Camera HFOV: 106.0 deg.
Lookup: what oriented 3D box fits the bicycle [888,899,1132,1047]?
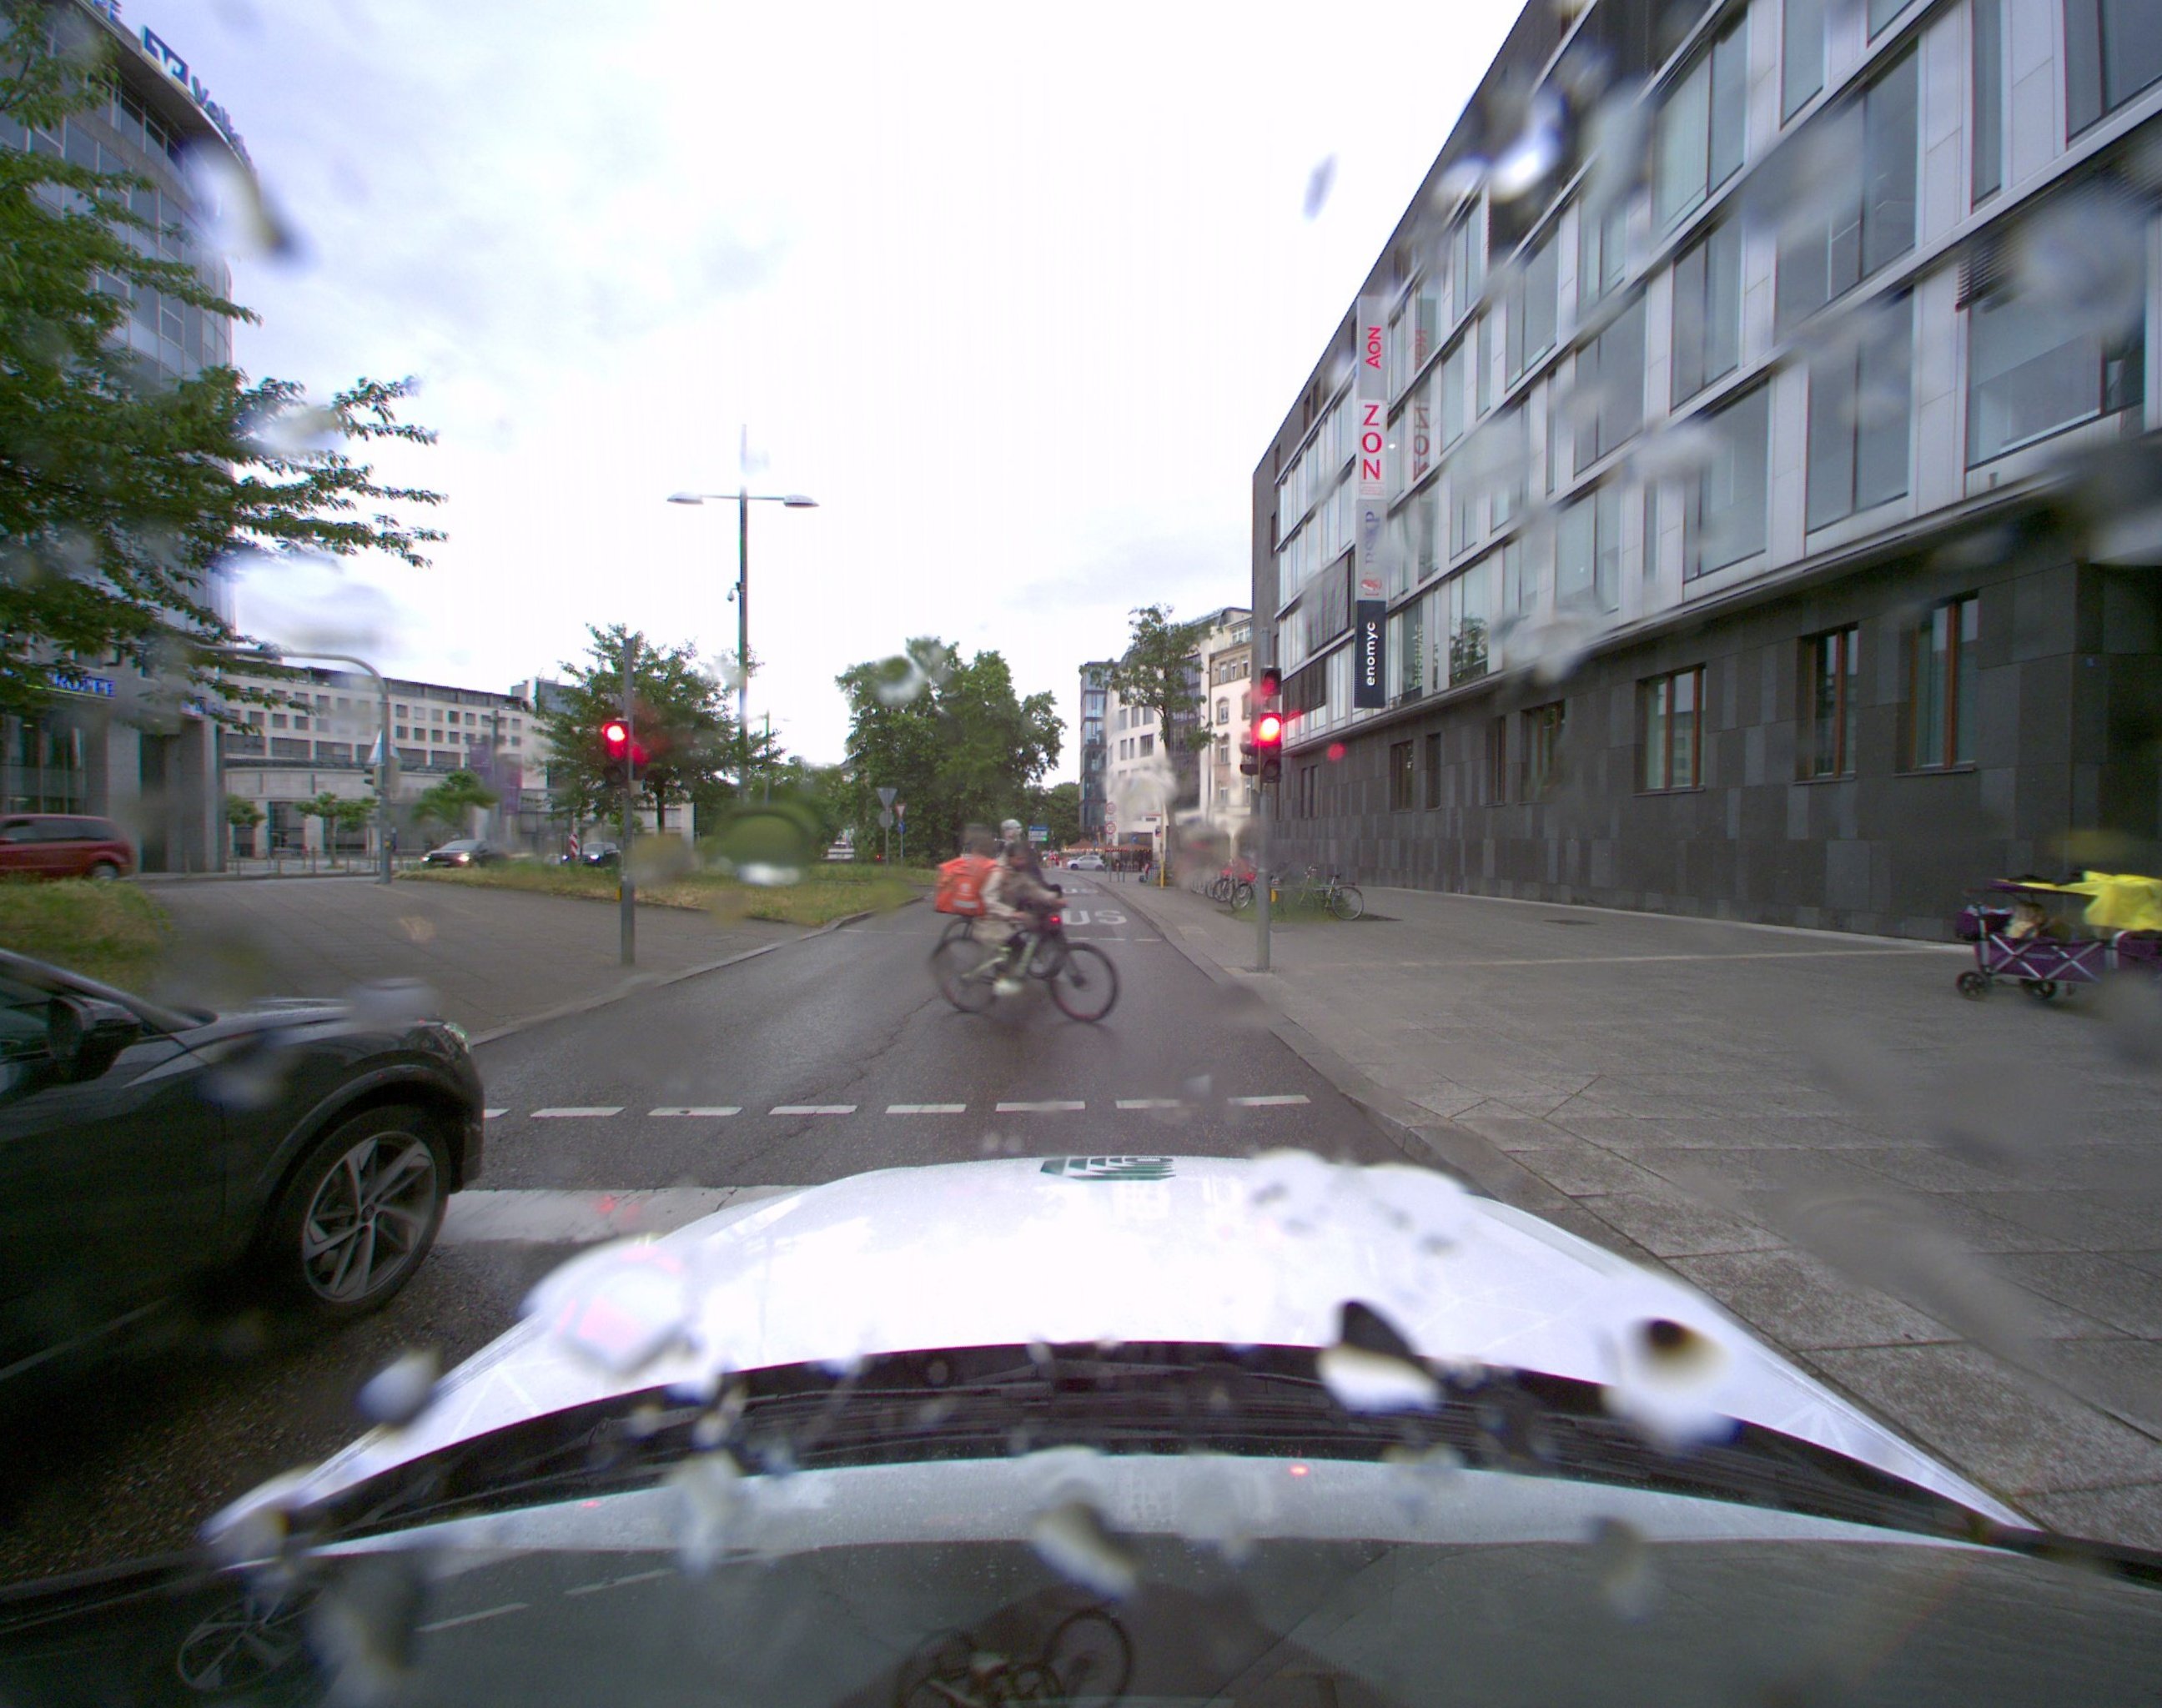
[{"bbox_3d":[-0.672,1.024,7.599,2.041,1.114,1.018,0,-1,30],"label":"bicycle"}]

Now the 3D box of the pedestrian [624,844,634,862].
[{"bbox_3d":[-51.841,-0.106,93.357,0.790,2.014,0.736,2,0,-15],"label":"pedestrian"}]

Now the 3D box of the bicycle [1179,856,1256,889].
[{"bbox_3d":[4.690,0.628,28.086,2.530,1.087,0.677,-1,0,-3],"label":"bicycle"}]

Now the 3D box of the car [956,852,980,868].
[{"bbox_3d":[-12.035,0.574,86.724,1.949,1.646,4.221,0,0,-17],"label":"car"}]

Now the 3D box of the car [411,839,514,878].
[{"bbox_3d":[-25.715,0.169,34.046,1.806,1.486,3.984,2,0,-12],"label":"car"}]

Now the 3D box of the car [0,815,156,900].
[{"bbox_3d":[-22.920,0.072,17.269,1.723,1.727,4.572,0,0,-7],"label":"car"}]

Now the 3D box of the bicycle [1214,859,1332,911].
[{"bbox_3d":[4.405,0.708,18.764,2.530,1.087,0.677,2,0,-3],"label":"bicycle"}]

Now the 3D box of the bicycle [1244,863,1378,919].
[{"bbox_3d":[4.636,0.735,16.476,2.530,1.057,0.677,0,0,-3],"label":"bicycle"}]

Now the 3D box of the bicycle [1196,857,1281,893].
[{"bbox_3d":[4.939,0.654,25.598,2.530,1.087,0.677,-1,0,-3],"label":"bicycle"}]

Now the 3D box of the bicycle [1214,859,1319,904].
[{"bbox_3d":[4.729,0.689,20.838,2.530,1.087,0.677,-1,0,-3],"label":"bicycle"}]

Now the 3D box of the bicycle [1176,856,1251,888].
[{"bbox_3d":[4.667,0.640,28.834,2.530,1.087,0.677,-1,0,-3],"label":"bicycle"}]

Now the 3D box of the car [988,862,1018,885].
[{"bbox_3d":[-6.349,1.529,65.509,2.161,1.706,4.540,0,0,-9],"label":"car"}]

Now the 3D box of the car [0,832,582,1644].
[{"bbox_3d":[-3.062,0.759,1.404,1.843,1.616,4.250,1,1,-2],"label":"car"}]

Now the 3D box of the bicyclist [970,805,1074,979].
[{"bbox_3d":[-0.732,0.458,10.271,1.073,2.083,0.766,-1,-1,16],"label":"bicyclist"}]

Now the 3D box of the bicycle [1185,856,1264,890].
[{"bbox_3d":[4.785,0.638,27.194,2.530,1.087,0.677,-1,0,-3],"label":"bicycle"}]

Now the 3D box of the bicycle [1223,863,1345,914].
[{"bbox_3d":[4.457,0.748,17.958,2.530,1.087,0.677,0,0,-3],"label":"bicycle"}]

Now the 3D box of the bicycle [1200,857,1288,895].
[{"bbox_3d":[4.919,0.656,24.619,2.530,1.087,0.677,-1,0,-3],"label":"bicycle"}]

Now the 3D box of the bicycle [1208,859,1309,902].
[{"bbox_3d":[4.698,0.685,21.650,2.530,1.087,0.677,-1,0,-3],"label":"bicycle"}]

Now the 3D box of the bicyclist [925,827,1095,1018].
[{"bbox_3d":[-0.643,0.579,7.589,1.122,1.582,1.021,2,0,31],"label":"bicyclist"}]

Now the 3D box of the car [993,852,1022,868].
[{"bbox_3d":[-7.838,0.633,86.537,2.185,1.700,3.976,0,0,-18],"label":"car"}]

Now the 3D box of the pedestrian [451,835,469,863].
[{"bbox_3d":[-39.454,-0.296,51.741,0.620,1.763,0.722,-2,0,-13],"label":"pedestrian"}]

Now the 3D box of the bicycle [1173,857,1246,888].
[{"bbox_3d":[4.654,0.650,29.557,2.530,1.087,0.627,-1,0,-3],"label":"bicycle"}]

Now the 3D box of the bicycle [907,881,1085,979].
[{"bbox_3d":[-1.077,0.926,10.377,2.109,1.145,0.766,-1,-1,16],"label":"bicycle"}]

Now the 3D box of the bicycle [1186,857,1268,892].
[{"bbox_3d":[4.727,0.655,26.443,2.530,1.087,0.677,-1,0,-3],"label":"bicycle"}]

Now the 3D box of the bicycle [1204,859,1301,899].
[{"bbox_3d":[4.731,0.687,22.516,2.530,1.060,0.677,-1,0,-3],"label":"bicycle"}]

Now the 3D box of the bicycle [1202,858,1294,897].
[{"bbox_3d":[4.789,0.671,23.425,2.530,1.087,0.677,-1,0,-3],"label":"bicycle"}]

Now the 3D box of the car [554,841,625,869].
[{"bbox_3d":[-28.043,0.053,46.631,1.803,1.486,4.372,2,0,-8],"label":"car"}]

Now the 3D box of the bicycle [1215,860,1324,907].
[{"bbox_3d":[4.603,0.710,19.986,2.530,1.087,0.677,-1,0,-3],"label":"bicycle"}]

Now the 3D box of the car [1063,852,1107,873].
[{"bbox_3d":[0.396,0.795,76.653,3.976,1.647,1.999,4,0,-2],"label":"car"}]

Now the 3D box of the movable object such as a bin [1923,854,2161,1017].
[{"bbox_3d":[8.655,0.654,7.271,0.729,1.264,1.444,-2,0,-1],"label":"movable object such as a bin"}]
